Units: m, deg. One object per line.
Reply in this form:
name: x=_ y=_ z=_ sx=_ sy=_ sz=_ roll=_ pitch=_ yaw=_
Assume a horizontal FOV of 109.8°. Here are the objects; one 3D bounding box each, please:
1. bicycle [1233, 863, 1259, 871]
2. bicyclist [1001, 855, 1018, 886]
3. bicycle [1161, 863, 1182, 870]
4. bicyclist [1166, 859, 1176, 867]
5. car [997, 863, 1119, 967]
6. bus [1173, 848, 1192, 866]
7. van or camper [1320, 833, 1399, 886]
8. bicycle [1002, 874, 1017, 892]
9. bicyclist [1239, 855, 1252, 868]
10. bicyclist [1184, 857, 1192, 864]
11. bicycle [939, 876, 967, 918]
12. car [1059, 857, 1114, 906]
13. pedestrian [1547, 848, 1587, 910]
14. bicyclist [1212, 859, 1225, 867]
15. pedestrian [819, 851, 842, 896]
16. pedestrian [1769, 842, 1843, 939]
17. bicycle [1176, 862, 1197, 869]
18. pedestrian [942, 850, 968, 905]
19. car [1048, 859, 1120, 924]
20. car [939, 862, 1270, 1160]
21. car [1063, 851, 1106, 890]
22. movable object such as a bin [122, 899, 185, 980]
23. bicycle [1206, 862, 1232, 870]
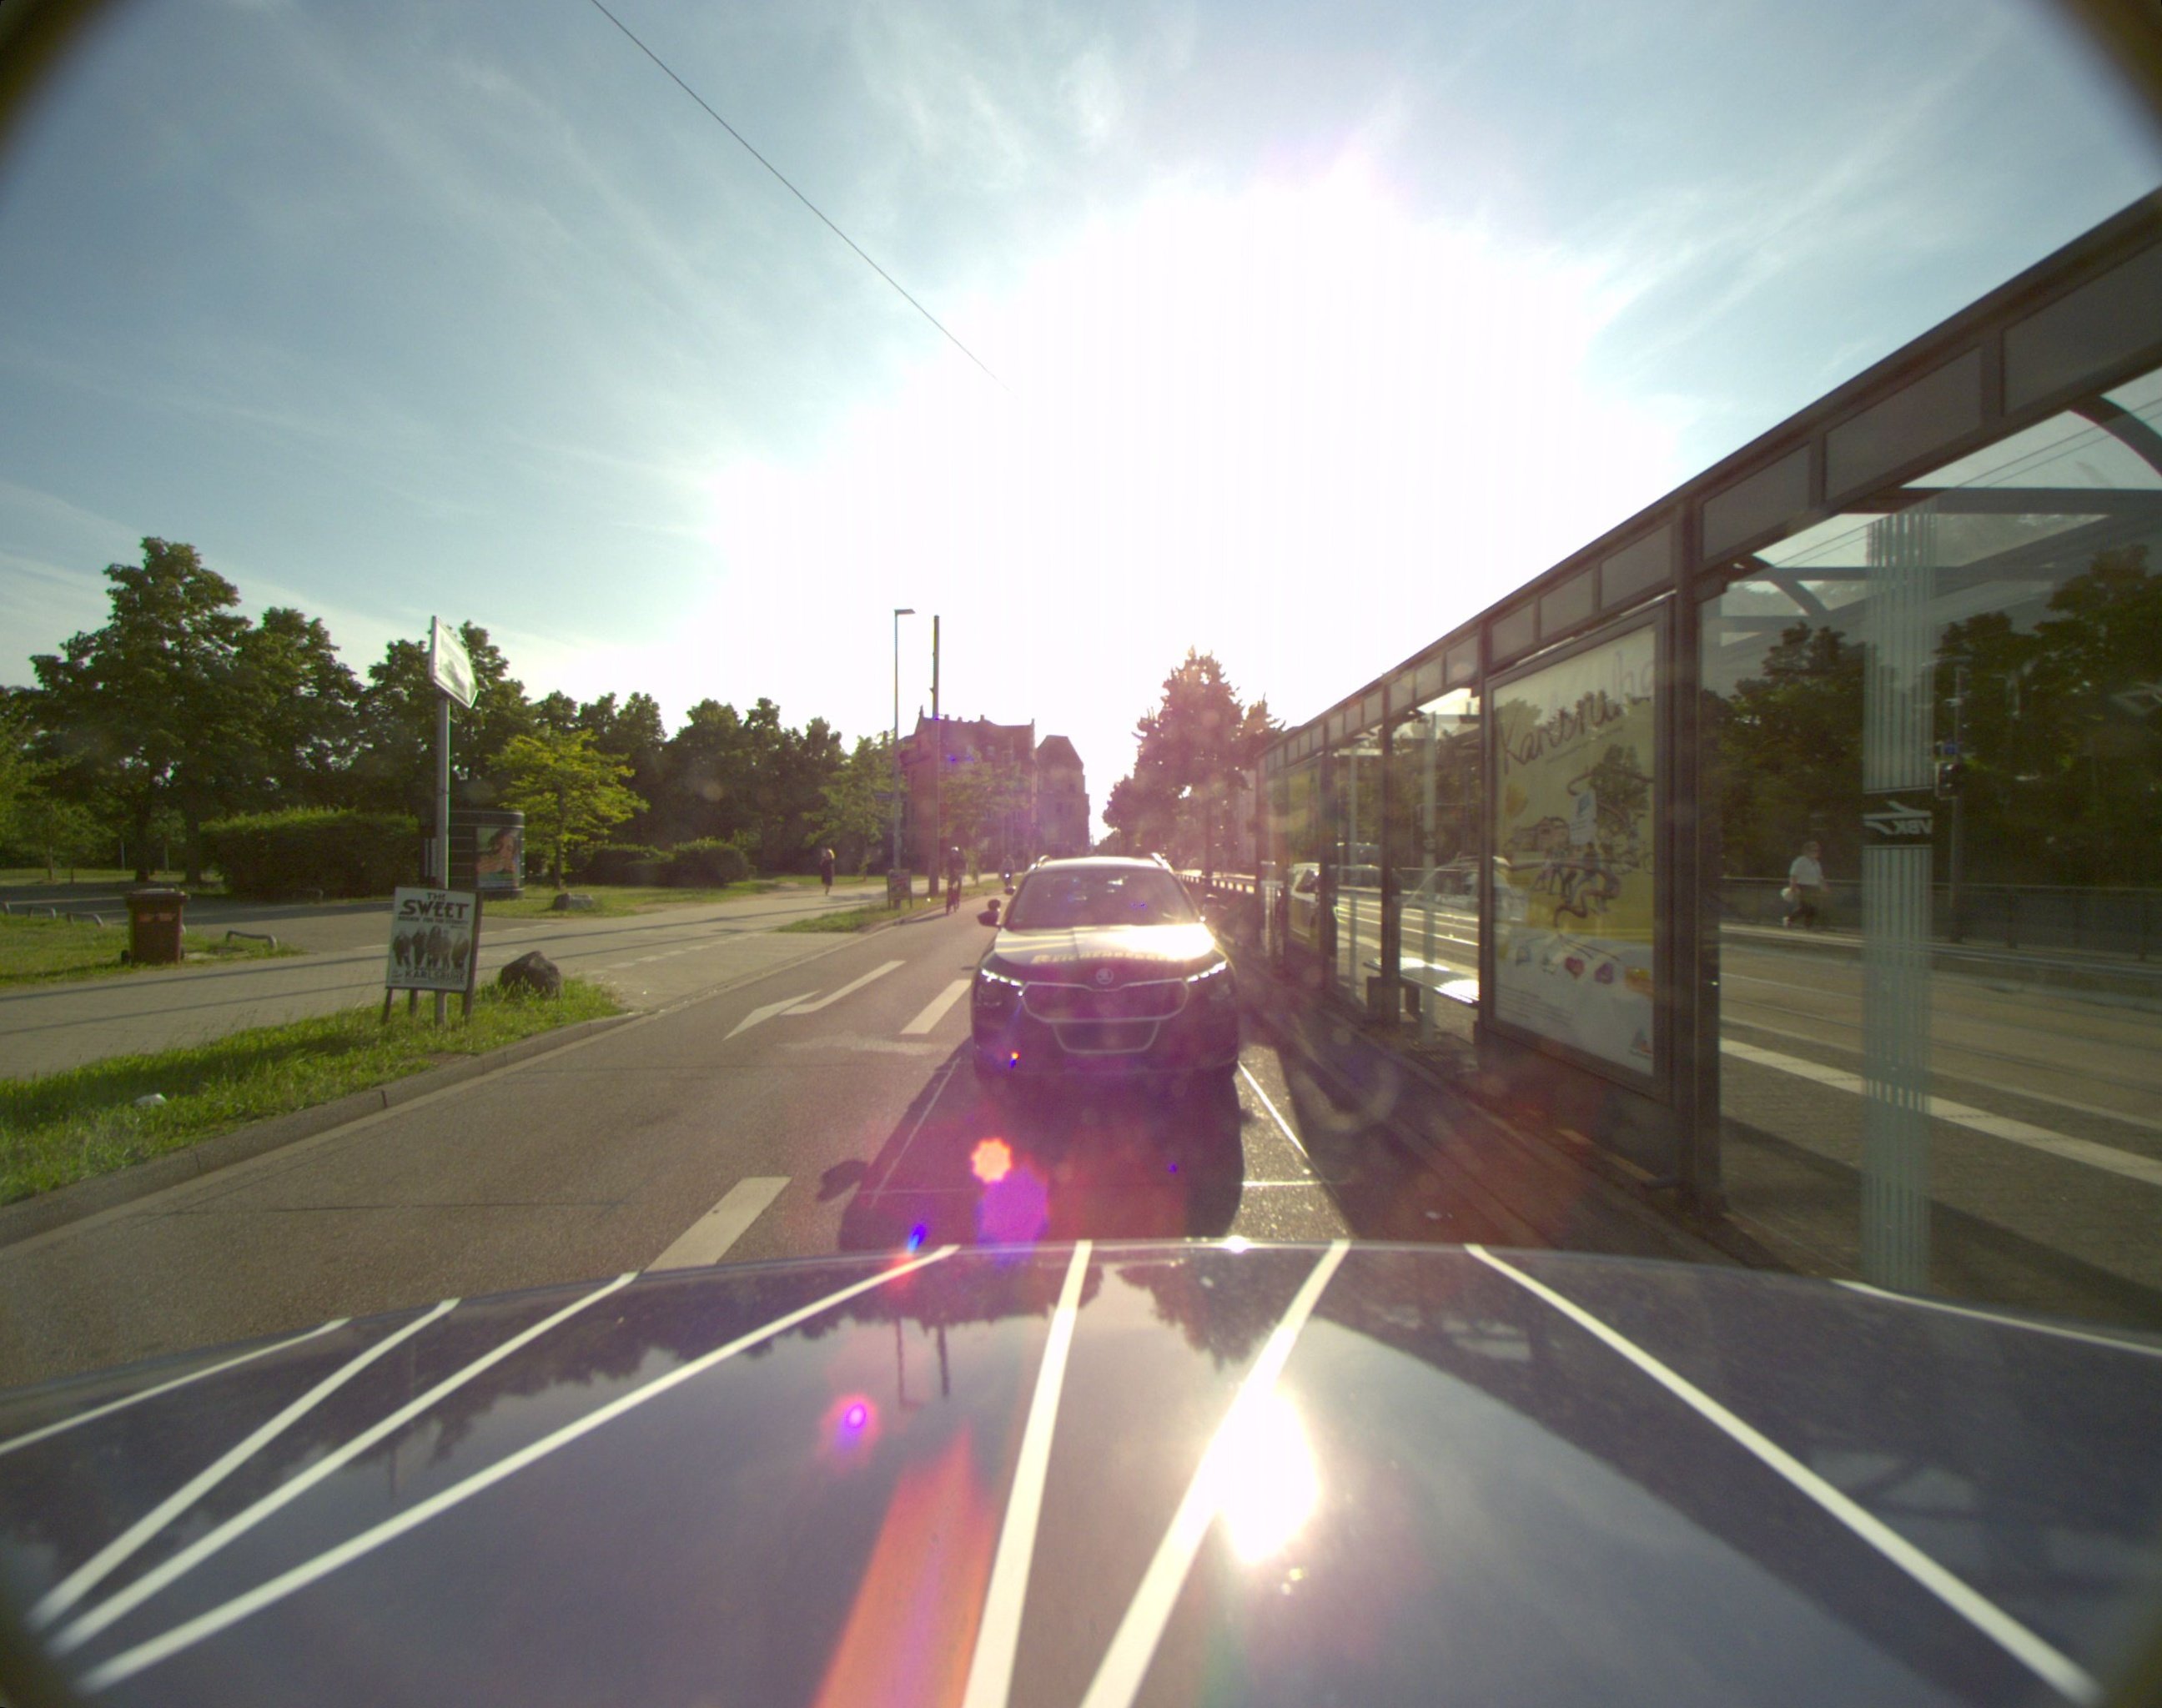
bicycle: x=20.548 y=1.559 z=94.645 sx=2.962 sy=0.974 sz=0.879 roll=0 pitch=0 yaw=-2
bicyclist: x=-3.440 y=0.788 z=36.559 sx=0.689 sy=1.445 sz=1.111 roll=0 pitch=0 yaw=0
bicycle: x=10.973 y=1.499 z=92.412 sx=2.536 sy=0.876 sz=0.631 roll=0 pitch=0 yaw=5
bicyclist: x=10.984 y=1.121 z=92.407 sx=1.216 sy=1.018 sz=0.672 roll=0 pitch=0 yaw=5
car: x=-0.306 y=0.920 z=13.313 sx=1.756 sy=1.451 sz=4.235 roll=-1 pitch=0 yaw=1
bus: x=19.956 y=0.495 z=150.053 sx=2.437 sy=3.415 sz=9.261 roll=-2 pitch=1 yaw=1
van or camper: x=16.985 y=0.270 z=46.759 sx=2.527 sy=2.951 sz=6.411 roll=-2 pitch=1 yaw=1
bicycle: x=-3.430 y=1.408 z=36.616 sx=0.567 sy=0.789 sz=2.041 roll=0 pitch=0 yaw=0
bicyclist: x=20.499 y=0.931 z=94.635 sx=1.402 sy=1.538 sz=0.888 roll=0 pitch=0 yaw=-1
bicyclist: x=13.206 y=0.798 z=94.013 sx=0.897 sy=0.908 sz=0.617 roll=0 pitch=0 yaw=6
bicycle: x=-3.557 y=1.178 z=21.253 sx=0.652 sy=1.040 sz=1.979 roll=-2 pitch=1 yaw=-8
car: x=0.211 y=0.909 z=26.834 sx=1.756 sy=1.534 sz=4.235 roll=-1 pitch=0 yaw=1
pedestrian: x=13.531 y=0.688 z=21.153 sx=0.621 sy=1.675 sz=0.618 roll=3 pitch=1 yaw=1
bicyclist: x=16.490 y=1.085 z=91.252 sx=1.402 sy=1.000 sz=0.888 roll=0 pitch=0 yaw=-1
pedestrian: x=-9.440 y=0.733 z=28.630 sx=0.621 sy=1.675 sz=0.618 roll=-2 pitch=1 yaw=1
pedestrian: x=13.002 y=0.645 z=13.642 sx=0.621 sy=1.675 sz=0.618 roll=3 pitch=1 yaw=1
bicycle: x=13.067 y=1.403 z=94.033 sx=2.536 sy=0.876 sz=0.631 roll=0 pitch=0 yaw=5
pedestrian: x=-3.547 y=0.645 z=21.466 sx=0.637 sy=1.512 sz=0.844 roll=-2 pitch=1 yaw=-8
car: x=0.108 y=0.952 z=20.861 sx=1.756 sy=1.534 sz=4.235 roll=-1 pitch=0 yaw=1
car: x=0.163 y=0.878 z=6.237 sx=1.756 sy=1.534 sz=4.235 roll=-1 pitch=0 yaw=1
car: x=0.181 y=0.679 z=33.350 sx=1.756 sy=1.534 sz=4.235 roll=-1 pitch=0 yaw=1
movable object such as a bin: x=-11.403 y=1.030 z=9.358 sx=0.603 sy=0.912 sz=0.457 roll=1 pitch=1 yaw=42
bicycle: x=16.527 y=1.433 z=91.174 sx=2.962 sy=0.974 sz=0.879 roll=0 pitch=0 yaw=-2
